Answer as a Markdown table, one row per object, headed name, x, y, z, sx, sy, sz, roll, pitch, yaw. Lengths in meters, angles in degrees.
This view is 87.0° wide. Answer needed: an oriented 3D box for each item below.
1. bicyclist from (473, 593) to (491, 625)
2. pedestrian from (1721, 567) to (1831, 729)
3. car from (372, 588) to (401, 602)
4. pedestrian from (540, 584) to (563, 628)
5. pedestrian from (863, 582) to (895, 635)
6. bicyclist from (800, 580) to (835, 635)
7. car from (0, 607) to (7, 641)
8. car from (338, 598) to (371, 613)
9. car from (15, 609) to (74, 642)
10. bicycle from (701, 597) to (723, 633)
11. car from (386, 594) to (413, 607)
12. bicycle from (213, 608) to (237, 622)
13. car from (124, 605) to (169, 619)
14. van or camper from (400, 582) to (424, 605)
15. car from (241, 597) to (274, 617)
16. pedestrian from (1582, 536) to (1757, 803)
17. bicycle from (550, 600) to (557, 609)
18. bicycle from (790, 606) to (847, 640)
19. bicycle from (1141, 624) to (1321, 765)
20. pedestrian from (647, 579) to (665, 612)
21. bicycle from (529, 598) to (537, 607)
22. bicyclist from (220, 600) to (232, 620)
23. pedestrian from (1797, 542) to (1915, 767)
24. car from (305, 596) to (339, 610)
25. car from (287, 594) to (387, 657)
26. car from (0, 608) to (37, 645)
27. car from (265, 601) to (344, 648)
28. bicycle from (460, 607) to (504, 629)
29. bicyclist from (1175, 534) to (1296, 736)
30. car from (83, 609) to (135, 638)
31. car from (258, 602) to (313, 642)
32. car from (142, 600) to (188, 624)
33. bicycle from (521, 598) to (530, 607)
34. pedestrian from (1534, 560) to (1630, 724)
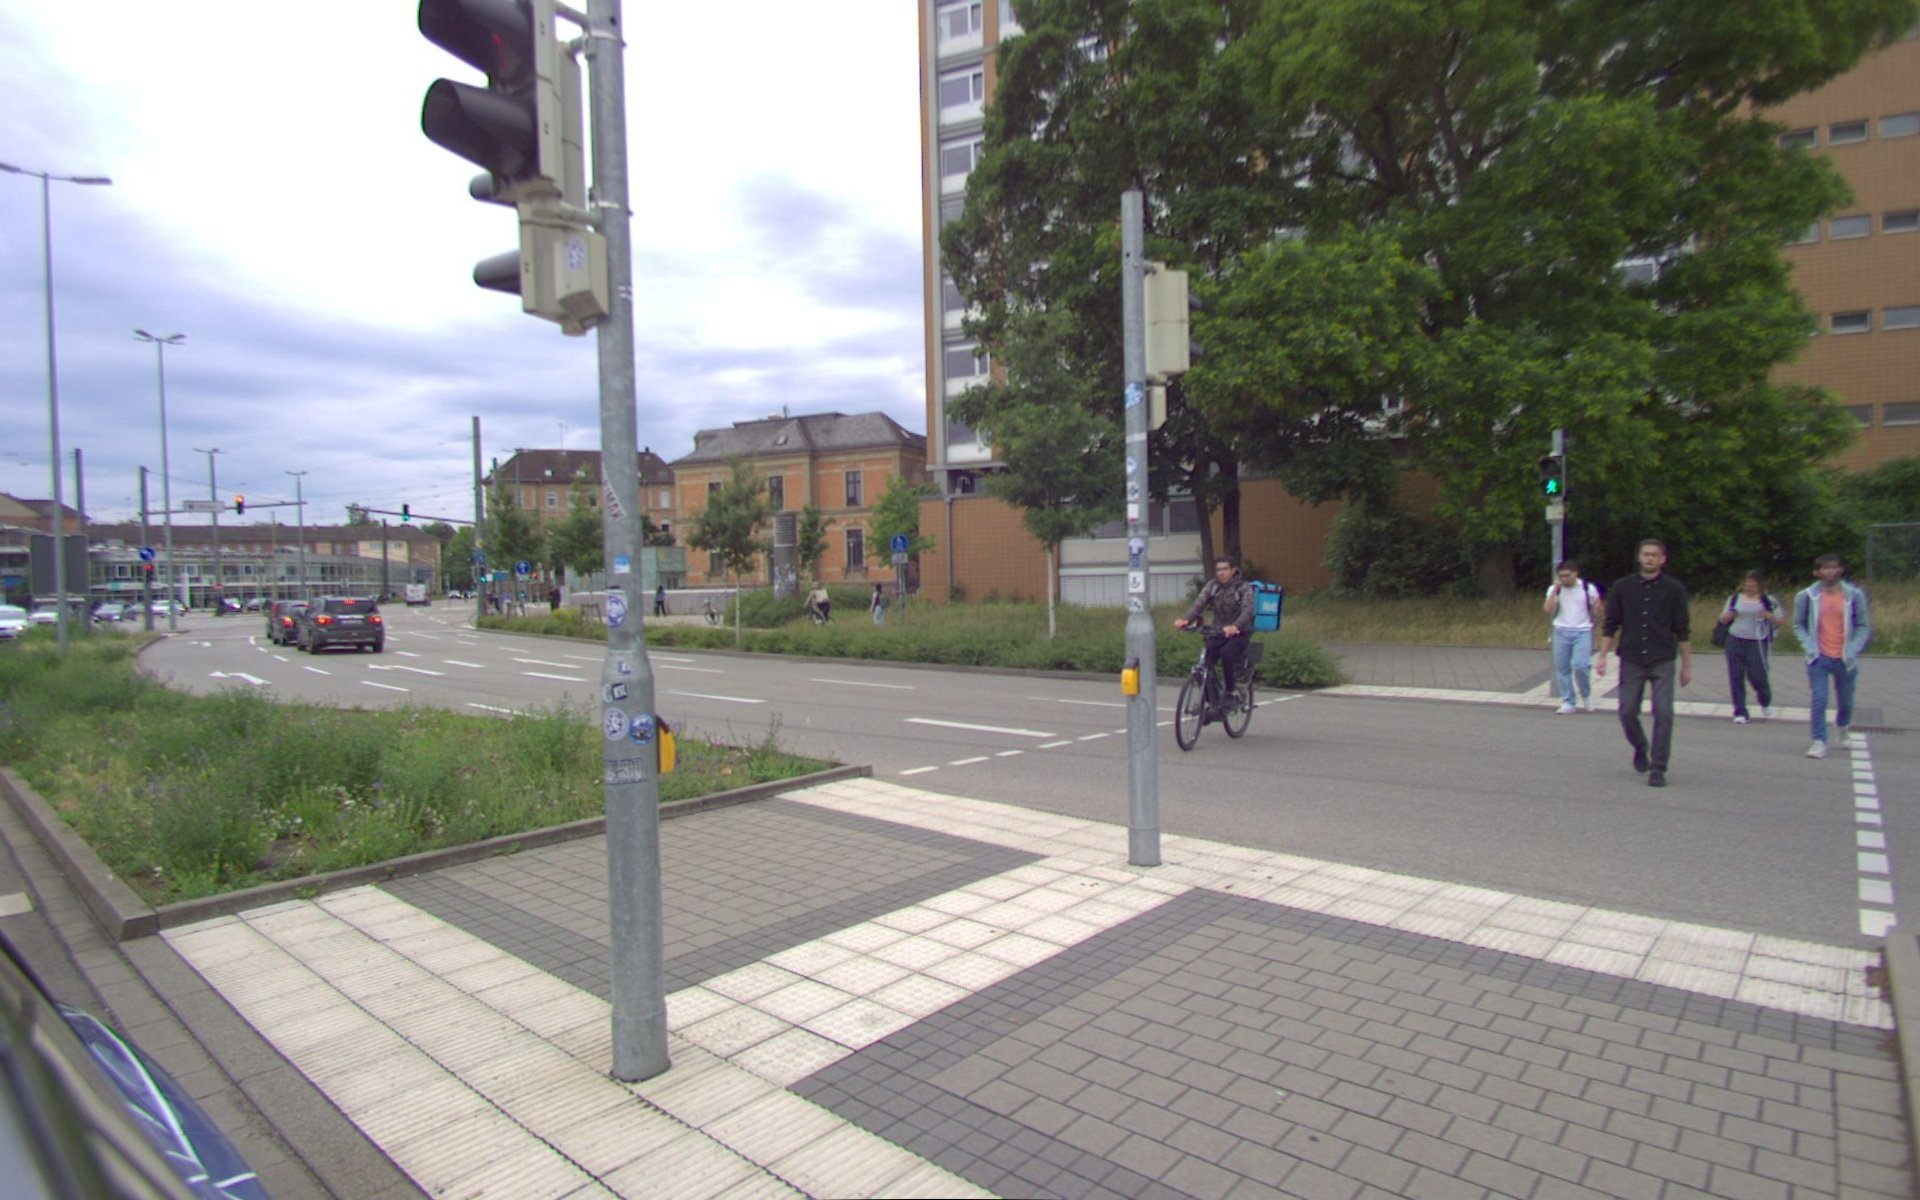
| name | x | y | z | sx | sy | sz | roll | pitch | yaw |
| --- | --- | --- | --- | --- | --- | --- | --- | --- | --- |
| bicyclist | -25.567 | 0.477 | 54.133 | 0.801 | 1.669 | 0.796 | -2 | 1 | -29 |
| pedestrian | 8.888 | 0.489 | 11.025 | 0.831 | 1.661 | 0.807 | -2 | 1 | -43 |
| car | -87.782 | -0.783 | 155.054 | 2.335 | 2.149 | 5.141 | -2 | 1 | -11 |
| pedestrian | -18.762 | 0.285 | 46.473 | 0.808 | 1.995 | 0.660 | -1 | 0 | -34 |
| pedestrian | -2.464 | 0.255 | 30.738 | 0.555 | 1.552 | 0.756 | -5 | 4 | -43 |
| bicyclist | -4.206 | 0.222 | 29.782 | 0.706 | 1.582 | 0.713 | -2 | 2 | -43 |
| car | -57.211 | 1.461 | 58.317 | 1.965 | 2.029 | 4.013 | -2 | 1 | -23 |
| car | -85.663 | 0.784 | 143.177 | 2.335 | 1.924 | 5.141 | -2 | 1 | -11 |
| car | -59.774 | 1.632 | 66.153 | 1.966 | 2.029 | 4.013 | -2 | 1 | -29 |
| bicycle | -10.310 | 0.602 | 42.016 | 0.835 | 1.459 | 2.261 | -2 | 1 | -15 |
| car | -89.214 | 0.081 | 161.185 | 2.335 | 2.037 | 5.141 | -2 | 1 | -11 |
| bicycle | -61.672 | 1.242 | 84.933 | 0.526 | 1.078 | 1.598 | -1 | 1 | 30 |
| car | -95.223 | 1.420 | 118.452 | 3.841 | 1.452 | 1.738 | -2 | 1 | -30 |
| van or camper | -63.447 | -0.722 | 117.206 | 2.247 | 2.546 | 5.591 | -1 | 0 | -27 |
| car | -76.934 | 0.722 | 110.893 | 1.966 | 2.029 | 4.013 | -2 | 1 | -20 |
| pedestrian | 5.390 | 0.471 | 7.683 | 1.036 | 1.856 | 0.867 | -2 | 1 | -43 |
| bicycle | -49.126 | 0.502 | 122.240 | 0.742 | 1.038 | 2.404 | -2 | 1 | -20 |
| bicycle | -4.187 | 0.658 | 29.788 | 0.706 | 0.889 | 1.885 | -2 | 3 | -43 |
| bicycle | 2.681 | 0.861 | 9.889 | 1.877 | 1.167 | 0.792 | -2 | 1 | -42 |
| pedestrian | -15.998 | -0.241 | 53.278 | 0.737 | 1.747 | 0.688 | -1 | 0 | -34 |
| bicycle | -51.305 | 0.247 | 121.577 | 0.742 | 1.038 | 2.404 | -2 | 1 | -20 |
| bicyclist | -61.628 | 0.867 | 84.955 | 0.516 | 1.651 | 0.648 | -1 | 1 | 31 |
| pedestrian | 7.874 | 0.443 | 8.888 | 0.882 | 1.856 | 0.668 | -2 | 1 | -43 |
| car | -81.020 | 0.364 | 128.528 | 2.334 | 1.768 | 5.145 | -2 | 1 | -17 |
| car | -18.667 | 0.717 | 30.228 | 1.847 | 1.738 | 4.720 | 0 | 0 | -40 |
| car | -40.440 | 1.106 | 42.482 | 1.941 | 1.466 | 4.203 | -2 | 1 | -35 |
| car | -22.587 | 0.816 | 34.777 | 1.846 | 1.519 | 4.488 | 1 | -1 | -38 |
| bicycle | -25.573 | 0.956 | 54.146 | 2.084 | 1.036 | 0.797 | -2 | 1 | -30 |
| bicyclist | 2.691 | 0.317 | 9.902 | 0.821 | 1.858 | 0.793 | -2 | 1 | -42 |
| car | -65.644 | 1.776 | 78.131 | 1.965 | 2.029 | 4.013 | -2 | 1 | -23 |
| car | -27.229 | 0.862 | 40.796 | 1.597 | 1.527 | 3.673 | -1 | 0 | -37 |
| car | -69.860 | 1.021 | 88.990 | 1.966 | 2.029 | 4.013 | -2 | 1 | -20 |
| bicycle | -52.081 | 0.310 | 121.306 | 0.823 | 1.038 | 2.404 | -2 | 1 | -20 |
| pedestrian | 7.365 | 0.465 | 11.987 | 0.748 | 1.856 | 0.767 | -2 | 1 | -42 |
